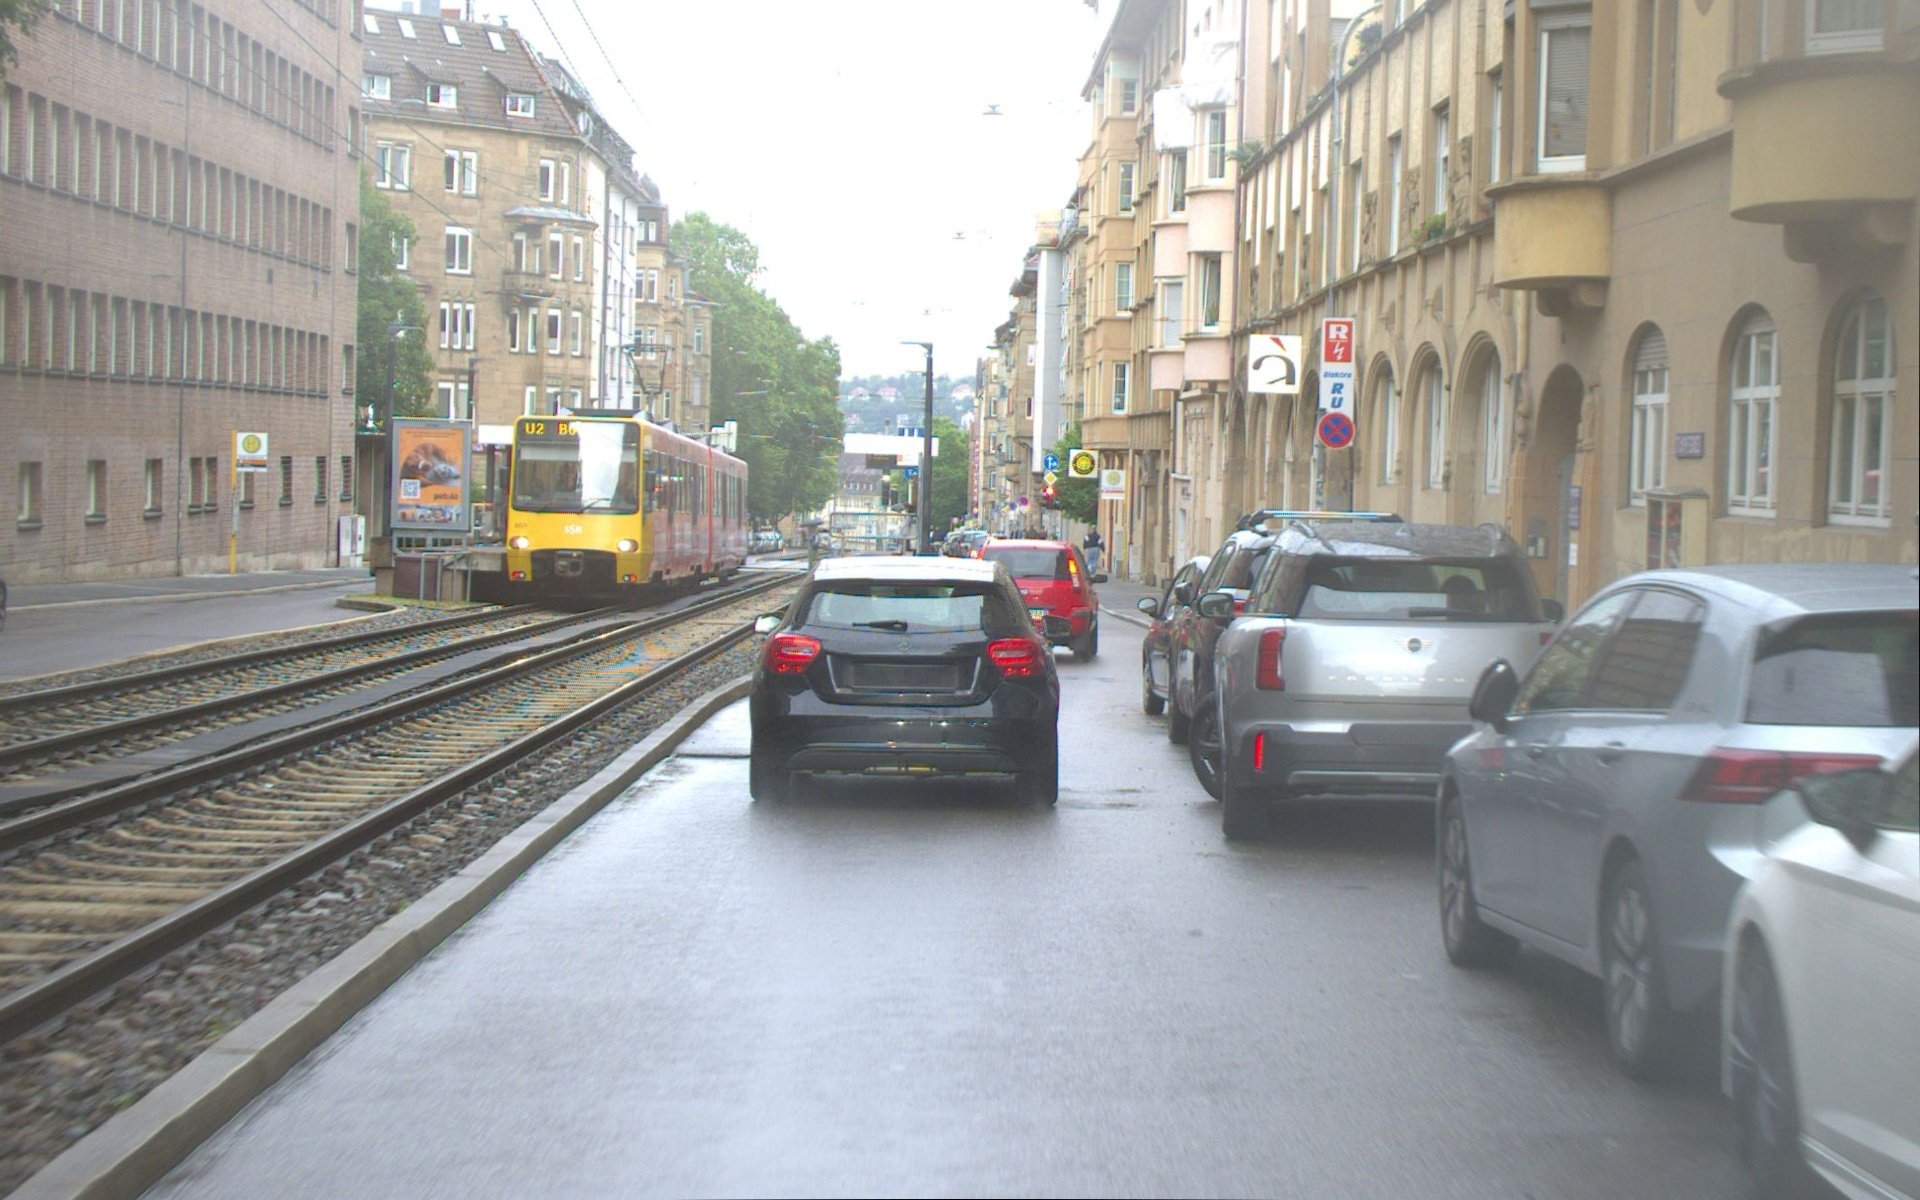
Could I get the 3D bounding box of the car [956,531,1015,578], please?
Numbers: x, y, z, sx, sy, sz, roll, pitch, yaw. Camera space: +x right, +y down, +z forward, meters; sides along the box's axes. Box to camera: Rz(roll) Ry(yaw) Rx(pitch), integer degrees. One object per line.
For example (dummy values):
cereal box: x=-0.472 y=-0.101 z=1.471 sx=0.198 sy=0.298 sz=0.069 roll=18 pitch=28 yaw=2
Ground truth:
car: x=0.901 y=-1.548 z=117.874 sx=1.887 sy=1.520 sz=4.245 roll=2 pitch=1 yaw=2

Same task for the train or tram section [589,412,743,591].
train or tram section: x=-7.187 y=-2.420 z=86.172 sx=2.745 sy=4.048 sz=15.662 roll=1 pitch=1 yaw=-1

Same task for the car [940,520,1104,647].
car: x=0.766 y=-0.235 z=44.805 sx=1.993 sy=1.520 sz=4.246 roll=2 pitch=1 yaw=0

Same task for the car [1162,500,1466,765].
car: x=2.487 y=0.200 z=25.141 sx=1.778 sy=1.744 sz=4.548 roll=1 pitch=0 yaw=1

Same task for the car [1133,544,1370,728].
car: x=2.470 y=0.282 z=29.760 sx=1.591 sy=1.435 sz=3.310 roll=3 pitch=0 yaw=-2

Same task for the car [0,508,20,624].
car: x=-12.907 y=-0.434 z=42.886 sx=1.572 sy=1.461 sz=3.045 roll=2 pitch=1 yaw=-2

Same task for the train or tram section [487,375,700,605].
train or tram section: x=-7.180 y=-2.149 z=69.886 sx=2.745 sy=4.048 sz=17.216 roll=1 pitch=1 yaw=-1

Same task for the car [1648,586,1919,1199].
car: x=2.658 y=0.683 z=6.492 sx=1.789 sy=1.381 sz=4.395 roll=1 pitch=0 yaw=0

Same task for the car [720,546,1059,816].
car: x=-0.392 y=0.414 z=20.807 sx=1.834 sy=1.448 sz=3.902 roll=1 pitch=1 yaw=0

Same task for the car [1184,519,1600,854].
car: x=2.254 y=0.401 z=19.084 sx=1.841 sy=1.602 sz=4.760 roll=1 pitch=0 yaw=2

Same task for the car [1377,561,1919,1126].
car: x=2.630 y=0.625 z=11.162 sx=1.832 sy=1.463 sz=4.376 roll=1 pitch=0 yaw=-2
